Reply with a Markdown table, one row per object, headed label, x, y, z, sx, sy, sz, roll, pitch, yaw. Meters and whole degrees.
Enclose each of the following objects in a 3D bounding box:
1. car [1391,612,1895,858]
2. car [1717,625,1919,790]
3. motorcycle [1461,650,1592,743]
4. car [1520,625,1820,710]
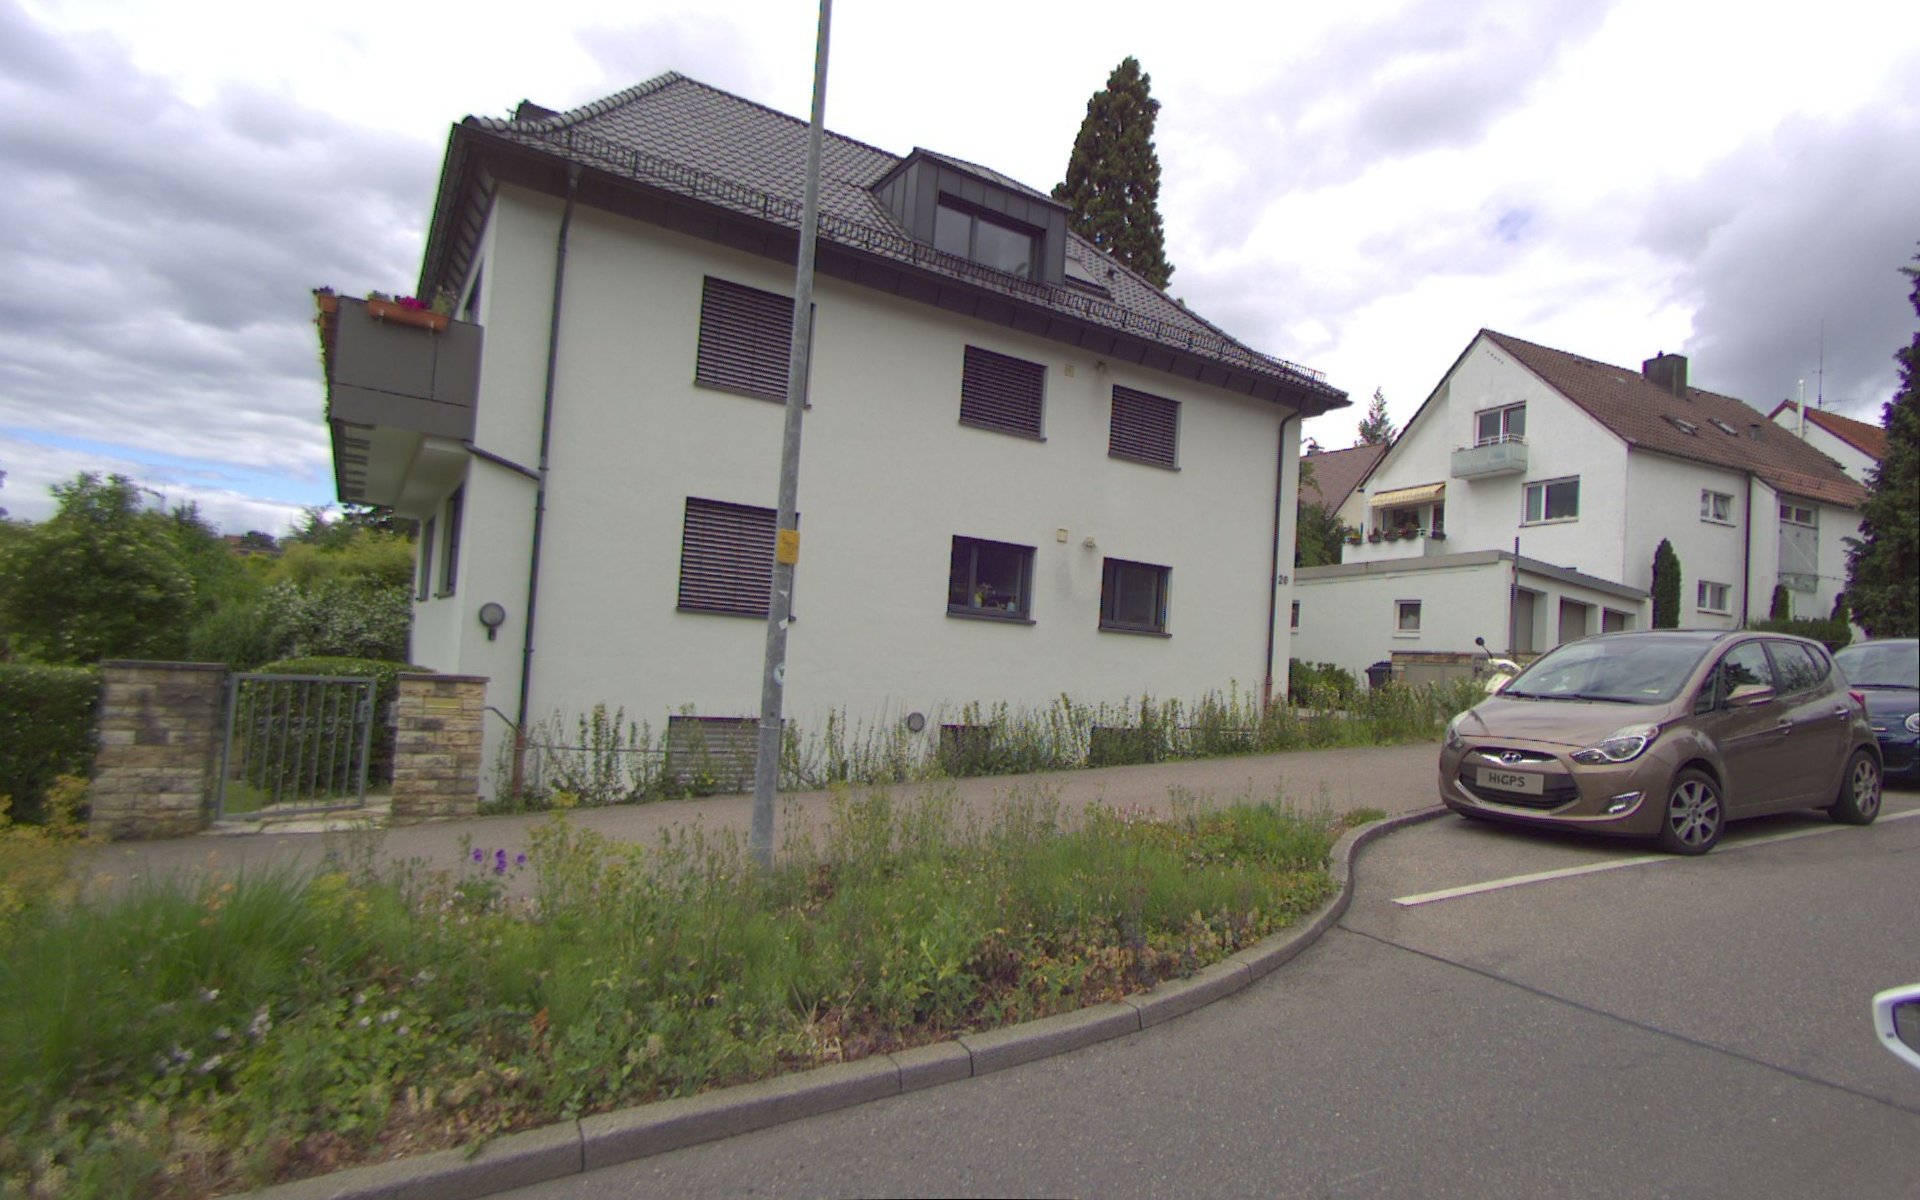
| label | x | y | z | sx | sy | sz | roll | pitch | yaw |
| --- | --- | --- | --- | --- | --- | --- | --- | --- | --- |
| car | 5.652 | 0.940 | 8.299 | 3.822 | 1.606 | 1.871 | 1 | -2 | -28 |
| car | 10.268 | 1.066 | 11.002 | 3.462 | 1.557 | 1.871 | 1 | -2 | -27 |
| motorcycle | 7.545 | 1.276 | 13.366 | 1.834 | 1.176 | 0.429 | 2 | -3 | -20 |
| car | 13.180 | 1.178 | 18.921 | 1.884 | 1.386 | 4.262 | 1 | -1 | -32 |
